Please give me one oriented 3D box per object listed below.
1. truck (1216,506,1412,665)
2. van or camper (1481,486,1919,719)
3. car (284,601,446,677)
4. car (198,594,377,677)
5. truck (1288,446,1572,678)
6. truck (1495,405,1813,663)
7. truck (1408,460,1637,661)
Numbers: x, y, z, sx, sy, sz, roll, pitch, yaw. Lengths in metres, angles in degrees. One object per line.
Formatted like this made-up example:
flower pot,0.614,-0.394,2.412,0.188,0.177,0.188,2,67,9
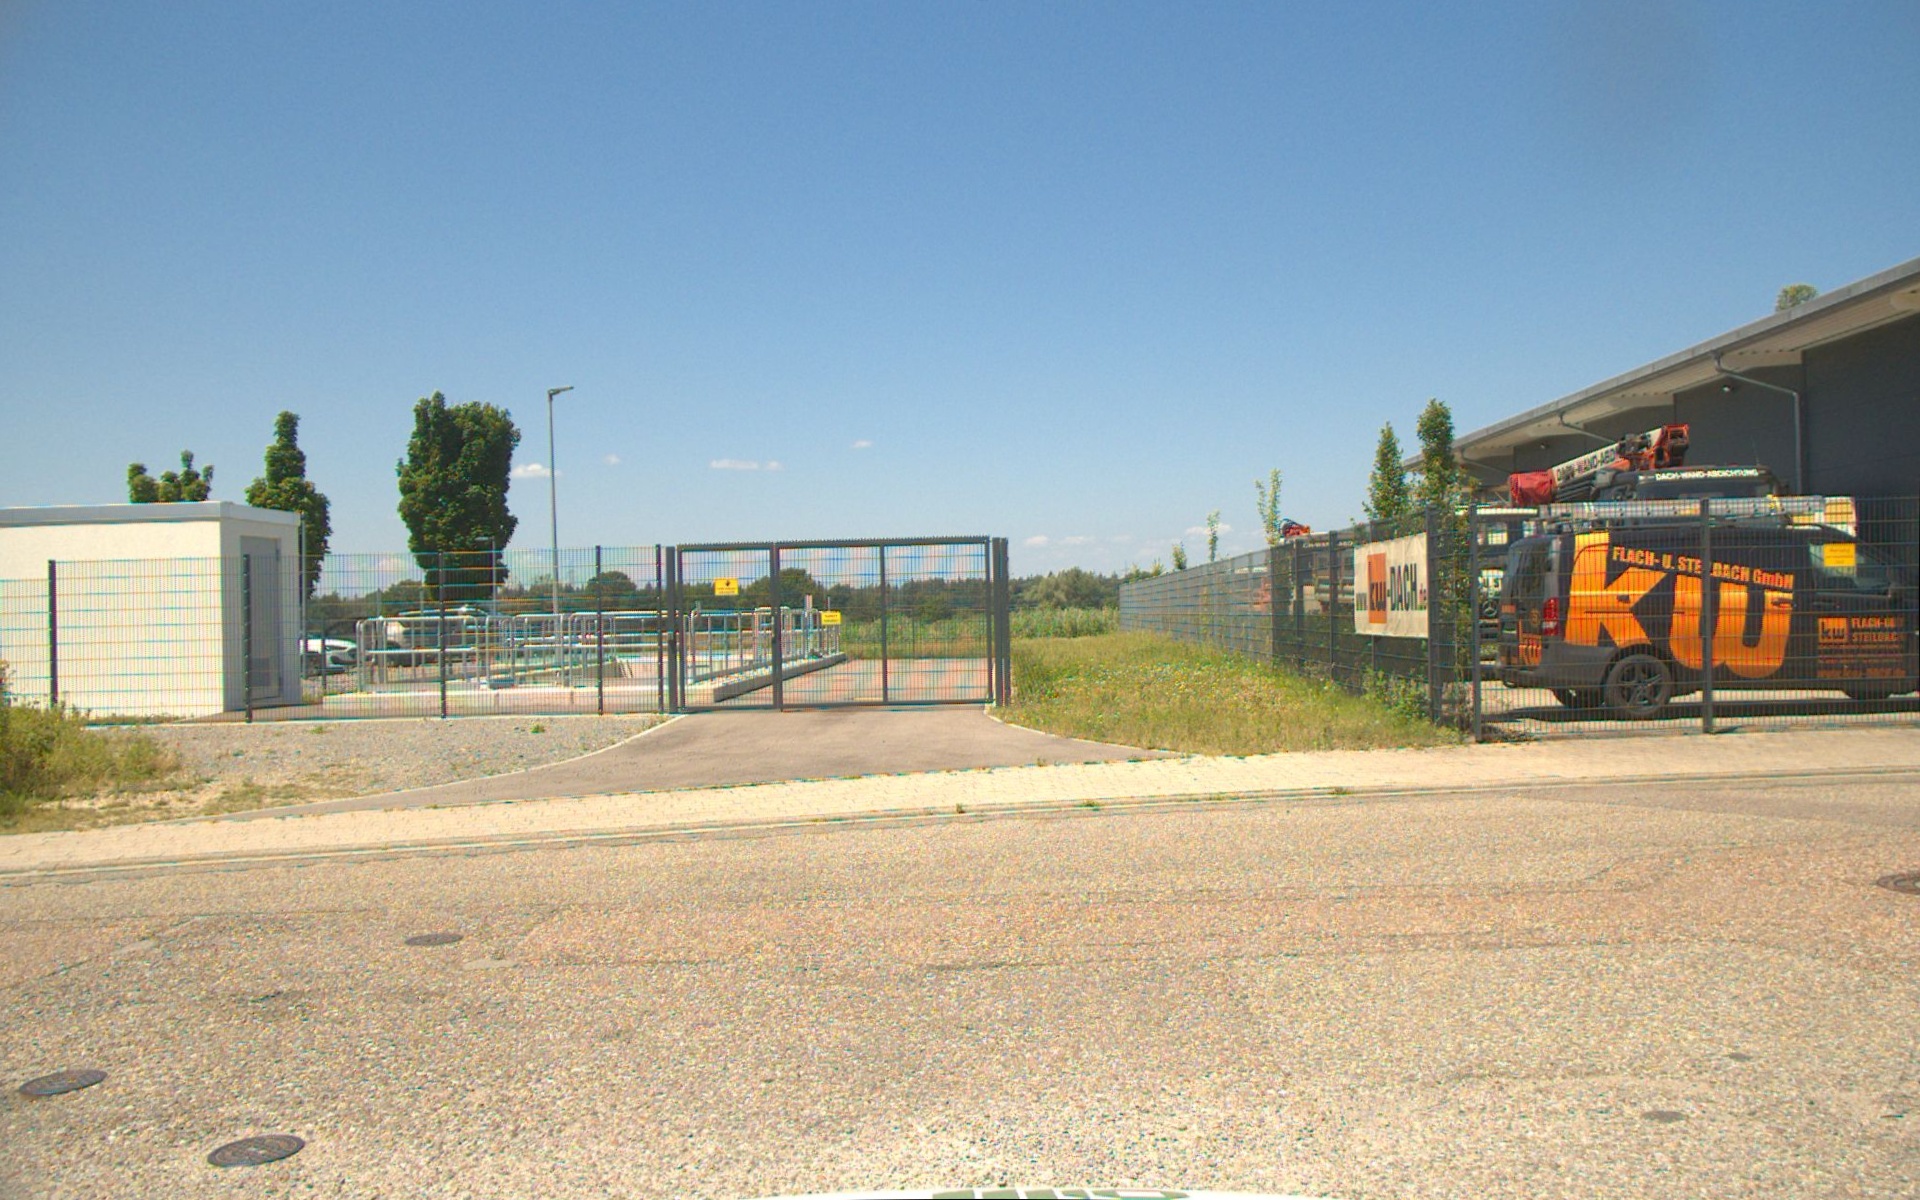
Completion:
truck,7.390,-0.263,35.524,2.861,2.989,6.937,-2,0,2
van or camper,8.241,-0.005,17.457,4.834,2.201,2.001,-2,1,2
car,-17.329,1.129,48.281,3.904,2.049,2.001,-2,0,3
car,-17.961,0.932,44.299,3.904,2.049,2.001,-2,0,3
truck,7.171,-0.504,26.301,2.670,3.115,6.937,-2,0,2
truck,12.110,-1.033,29.663,2.861,3.998,6.937,-2,0,2
truck,12.392,-0.788,37.153,2.861,3.998,6.937,-2,0,2
